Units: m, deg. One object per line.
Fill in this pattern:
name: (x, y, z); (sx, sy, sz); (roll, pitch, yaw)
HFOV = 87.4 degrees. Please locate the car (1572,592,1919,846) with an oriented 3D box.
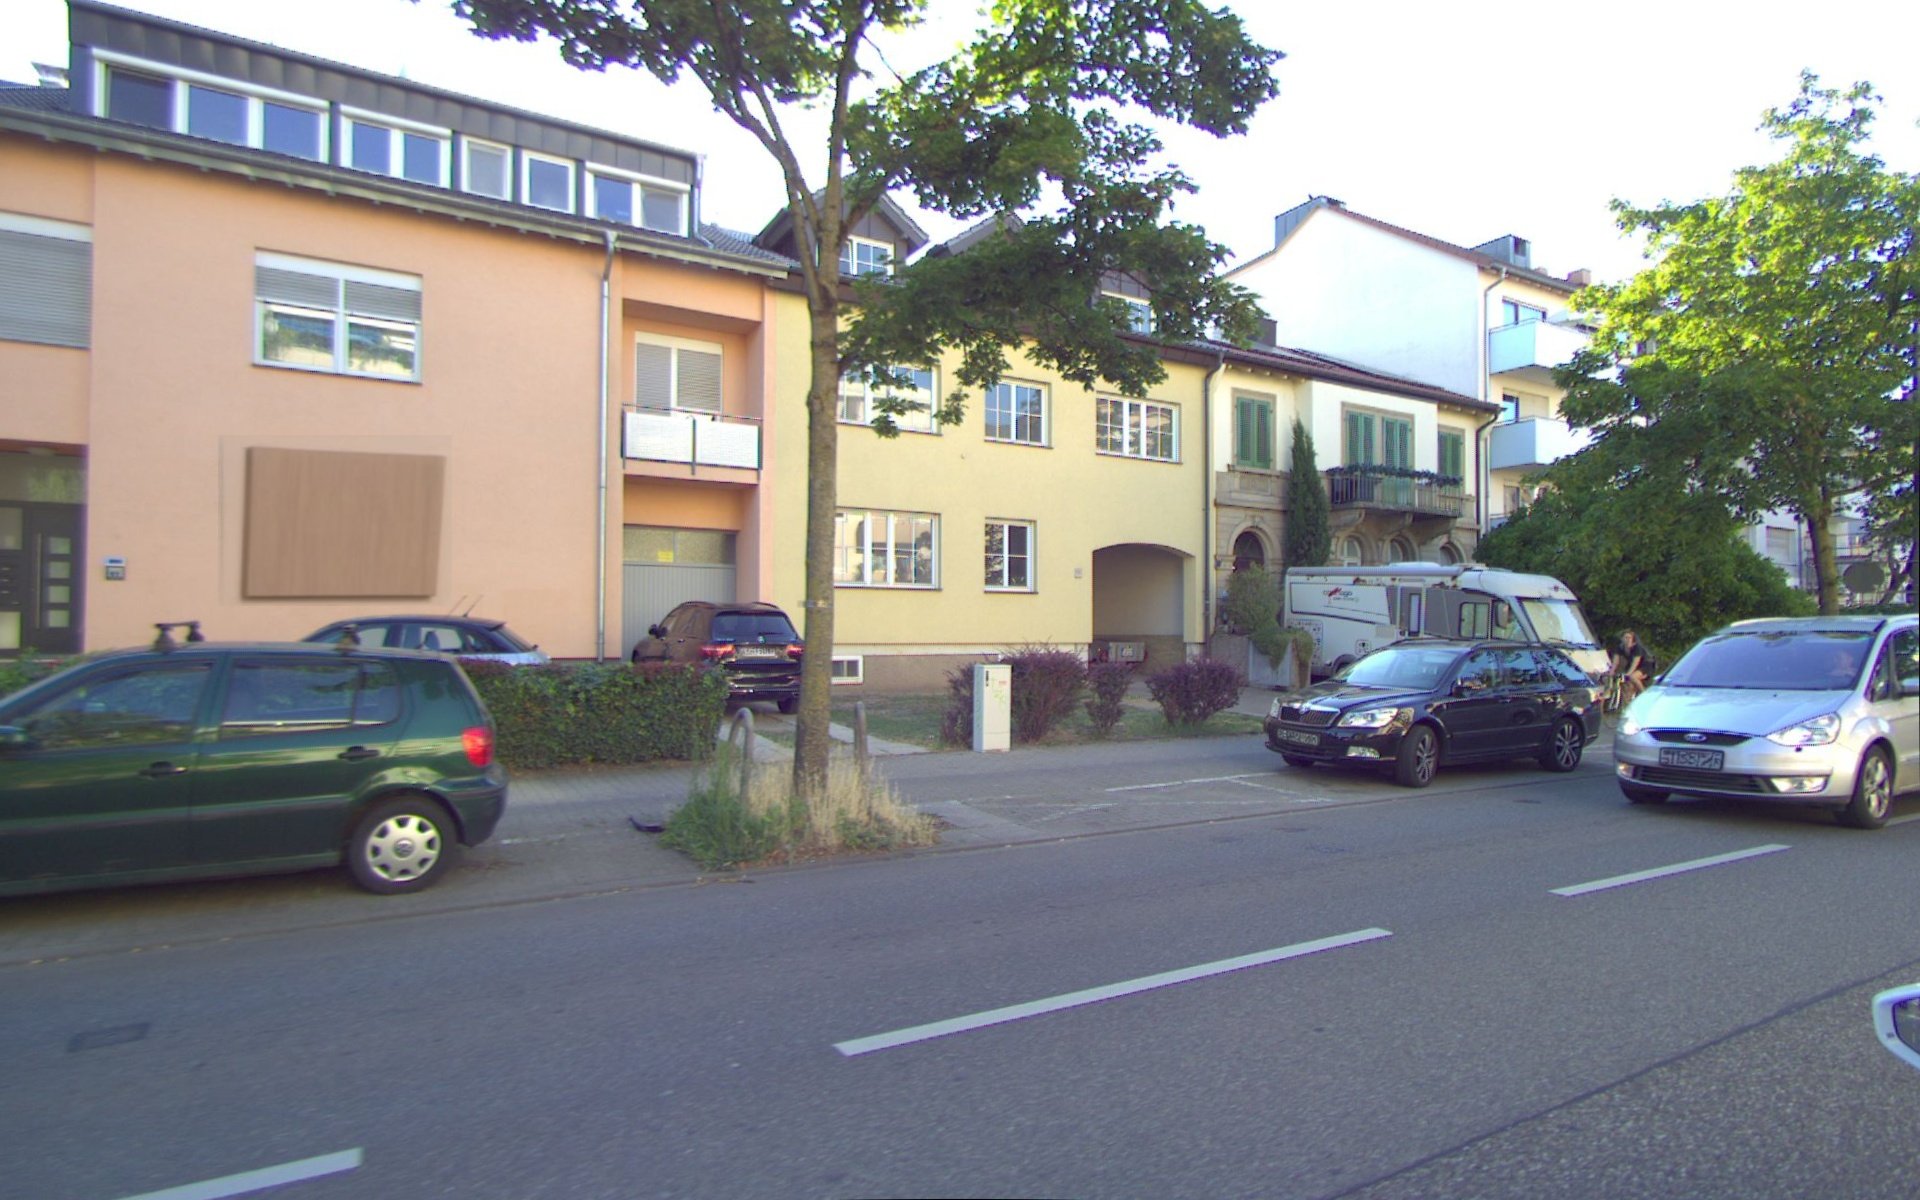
car: (7.857, 0.957, 9.230); (4.690, 1.828, 1.797); (2, -4, -31)

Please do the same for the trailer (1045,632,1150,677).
trailer: (3.542, 1.389, 26.123); (1.608, 0.973, 2.393); (1, 1, -29)

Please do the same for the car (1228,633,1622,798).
car: (5.386, 1.178, 11.508); (4.463, 1.514, 1.859); (2, 0, -30)

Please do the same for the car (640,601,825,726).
car: (-3.718, 0.884, 15.893); (1.843, 1.657, 3.970); (1, 0, -28)

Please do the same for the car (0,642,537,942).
car: (-4.486, 0.960, 5.769); (3.623, 1.415, 1.536); (2, -2, -30)

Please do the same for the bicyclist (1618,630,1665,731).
bicyclist: (11.586, 1.347, 17.075); (0.546, 1.685, 0.466); (1, -2, -31)

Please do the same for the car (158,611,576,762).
car: (-6.342, 0.888, 11.143); (3.706, 1.427, 1.658); (1, -3, -29)

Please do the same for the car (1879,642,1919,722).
car: (19.956, 1.611, 19.842); (3.758, 1.490, 1.586); (2, 0, -30)

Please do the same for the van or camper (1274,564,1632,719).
van or camper: (10.245, 0.724, 21.719); (2.324, 2.810, 6.764); (1, 0, -30)

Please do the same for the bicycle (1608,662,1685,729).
bicycle: (11.722, 1.603, 17.142); (1.516, 1.078, 0.484); (2, -2, -31)
